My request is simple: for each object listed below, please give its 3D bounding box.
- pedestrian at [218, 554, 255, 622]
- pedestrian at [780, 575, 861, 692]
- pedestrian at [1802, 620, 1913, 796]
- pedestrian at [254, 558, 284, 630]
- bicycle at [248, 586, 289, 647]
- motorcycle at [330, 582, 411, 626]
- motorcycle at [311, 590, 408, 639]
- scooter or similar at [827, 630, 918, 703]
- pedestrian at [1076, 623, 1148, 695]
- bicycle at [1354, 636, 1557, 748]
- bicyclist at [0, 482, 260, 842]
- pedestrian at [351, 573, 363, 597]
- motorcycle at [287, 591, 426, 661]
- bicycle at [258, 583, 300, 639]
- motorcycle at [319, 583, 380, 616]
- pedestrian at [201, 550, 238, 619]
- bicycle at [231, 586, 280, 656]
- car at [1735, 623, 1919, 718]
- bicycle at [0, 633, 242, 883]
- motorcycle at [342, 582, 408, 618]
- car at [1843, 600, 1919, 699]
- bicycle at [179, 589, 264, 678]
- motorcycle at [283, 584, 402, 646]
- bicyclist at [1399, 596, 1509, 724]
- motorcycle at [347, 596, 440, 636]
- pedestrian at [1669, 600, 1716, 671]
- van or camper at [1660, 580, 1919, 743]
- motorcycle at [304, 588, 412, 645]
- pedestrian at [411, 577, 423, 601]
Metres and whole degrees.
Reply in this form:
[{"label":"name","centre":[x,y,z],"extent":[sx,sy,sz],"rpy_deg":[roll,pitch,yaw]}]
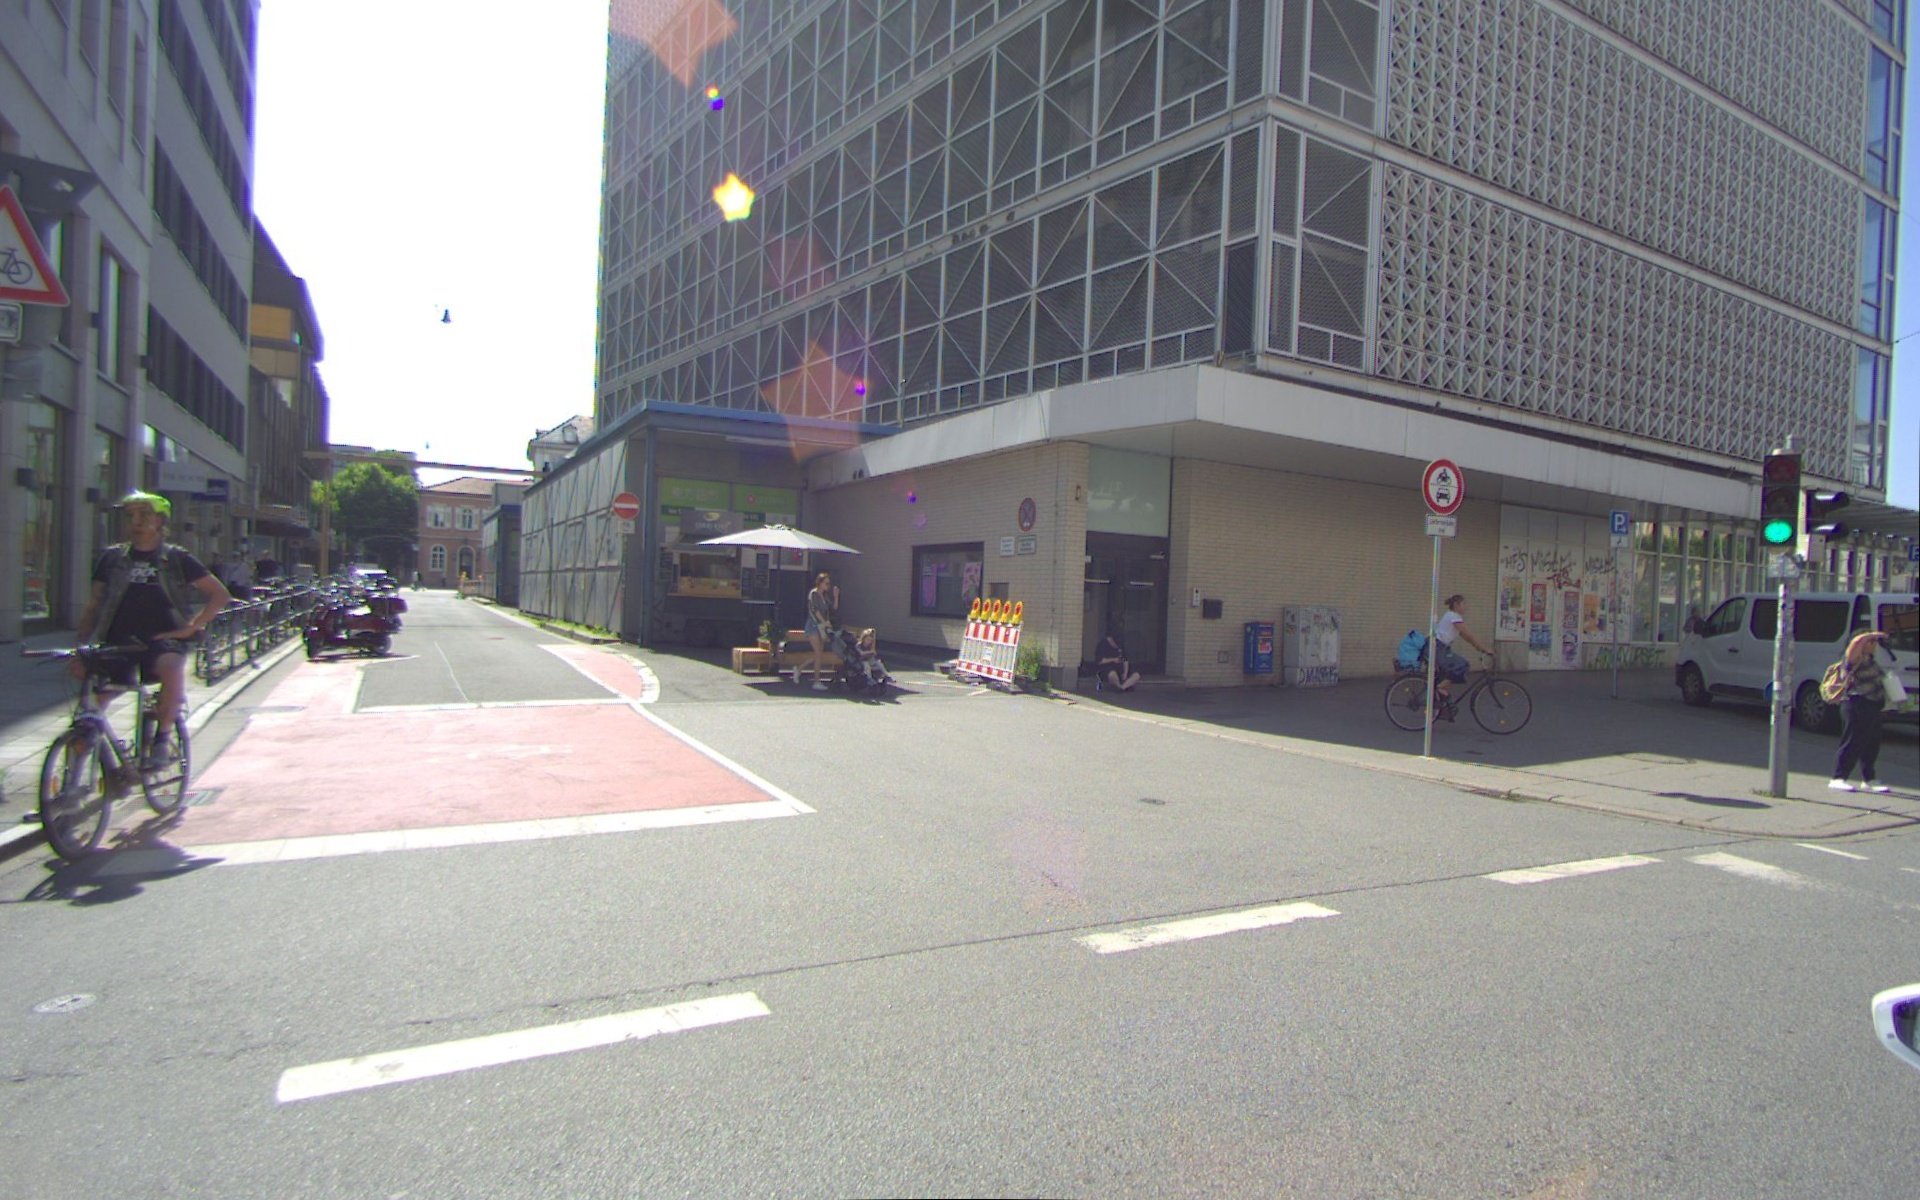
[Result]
[{"label":"pedestrian","centre":[-19.525,-0.318,27.111],"extent":[0.660,1.781,0.762],"rpy_deg":[2,-1,-29]},{"label":"pedestrian","centre":[-2.113,0.480,15.220],"extent":[0.832,1.681,0.836],"rpy_deg":[4,3,42]},{"label":"pedestrian","centre":[8.606,0.998,9.634],"extent":[0.675,1.580,0.633],"rpy_deg":[0,3,-41]},{"label":"pedestrian","centre":[-22.880,-0.197,33.276],"extent":[0.660,2.322,0.762],"rpy_deg":[2,-1,-29]},{"label":"bicycle","centre":[-13.827,0.310,20.118],"extent":[0.449,1.142,2.048],"rpy_deg":[1,1,-29]},{"label":"motorcycle","centre":[-16.938,0.106,28.911],"extent":[0.693,1.213,2.065],"rpy_deg":[2,1,16]},{"label":"motorcycle","centre":[-14.210,0.309,23.829],"extent":[0.593,1.081,2.064],"rpy_deg":[3,2,19]},{"label":"scooter or similar","centre":[-1.293,0.959,14.799],"extent":[0.958,0.977,0.898],"rpy_deg":[3,1,40]},{"label":"pedestrian","centre":[2.494,0.961,16.489],"extent":[0.831,1.071,0.717],"rpy_deg":[2,4,-31]},{"label":"bicycle","centre":[6.264,1.143,12.805],"extent":[2.166,1.284,0.736],"rpy_deg":[1,1,8]},{"label":"bicyclist","centre":[-4.995,0.355,6.110],"extent":[1.003,1.986,0.840],"rpy_deg":[2,0,-23]},{"label":"pedestrian","centre":[-48.747,-1.245,81.203],"extent":[0.758,1.900,0.663],"rpy_deg":[2,-1,-29]},{"label":"motorcycle","centre":[-10.833,0.432,18.112],"extent":[0.646,1.189,2.058],"rpy_deg":[0,0,34]},{"label":"bicycle","centre":[-14.922,0.228,22.038],"extent":[0.564,1.124,2.048],"rpy_deg":[1,2,-29]},{"label":"motorcycle","centre":[-23.240,-0.030,38.299],"extent":[0.693,1.189,2.065],"rpy_deg":[2,2,15]},{"label":"pedestrian","centre":[-19.851,-0.405,26.933],"extent":[0.660,1.781,0.762],"rpy_deg":[2,-1,-29]},{"label":"bicycle","centre":[-12.565,0.346,17.950],"extent":[0.450,1.141,2.047],"rpy_deg":[7,-2,-30]},{"label":"car","centre":[16.389,1.229,17.855],"extent":[1.931,1.304,4.299],"rpy_deg":[3,2,2]},{"label":"bicycle","centre":[-4.990,0.812,5.908],"extent":[0.787,1.142,1.983],"rpy_deg":[1,1,-22]},{"label":"motorcycle","centre":[-20.333,-0.026,34.969],"extent":[0.693,1.189,2.065],"rpy_deg":[2,2,15]},{"label":"car","centre":[19.864,1.004,19.448],"extent":[1.969,1.935,4.448],"rpy_deg":[2,1,7]},{"label":"bicycle","centre":[-10.551,0.447,14.411],"extent":[0.632,1.141,2.049],"rpy_deg":[5,-2,-29]},{"label":"motorcycle","centre":[-12.607,0.281,20.582],"extent":[0.642,1.189,2.062],"rpy_deg":[1,1,25]},{"label":"bicyclist","centre":[6.273,0.740,12.803],"extent":[1.055,1.560,0.736],"rpy_deg":[1,1,8]},{"label":"motorcycle","centre":[-14.618,0.389,25.978],"extent":[0.694,0.951,2.062],"rpy_deg":[3,2,27]},{"label":"pedestrian","centre":[16.803,0.799,23.038],"extent":[0.634,1.580,0.674],"rpy_deg":[1,0,-34]},{"label":"van or camper","centre":[12.900,0.766,15.173],"extent":[1.959,2.041,4.662],"rpy_deg":[2,2,10]},{"label":"motorcycle","centre":[-13.417,0.342,22.456],"extent":[0.594,1.189,2.062],"rpy_deg":[3,2,25]},{"label":"pedestrian","centre":[-42.674,-0.857,78.963],"extent":[0.758,1.900,0.663],"rpy_deg":[2,-1,-29]}]
